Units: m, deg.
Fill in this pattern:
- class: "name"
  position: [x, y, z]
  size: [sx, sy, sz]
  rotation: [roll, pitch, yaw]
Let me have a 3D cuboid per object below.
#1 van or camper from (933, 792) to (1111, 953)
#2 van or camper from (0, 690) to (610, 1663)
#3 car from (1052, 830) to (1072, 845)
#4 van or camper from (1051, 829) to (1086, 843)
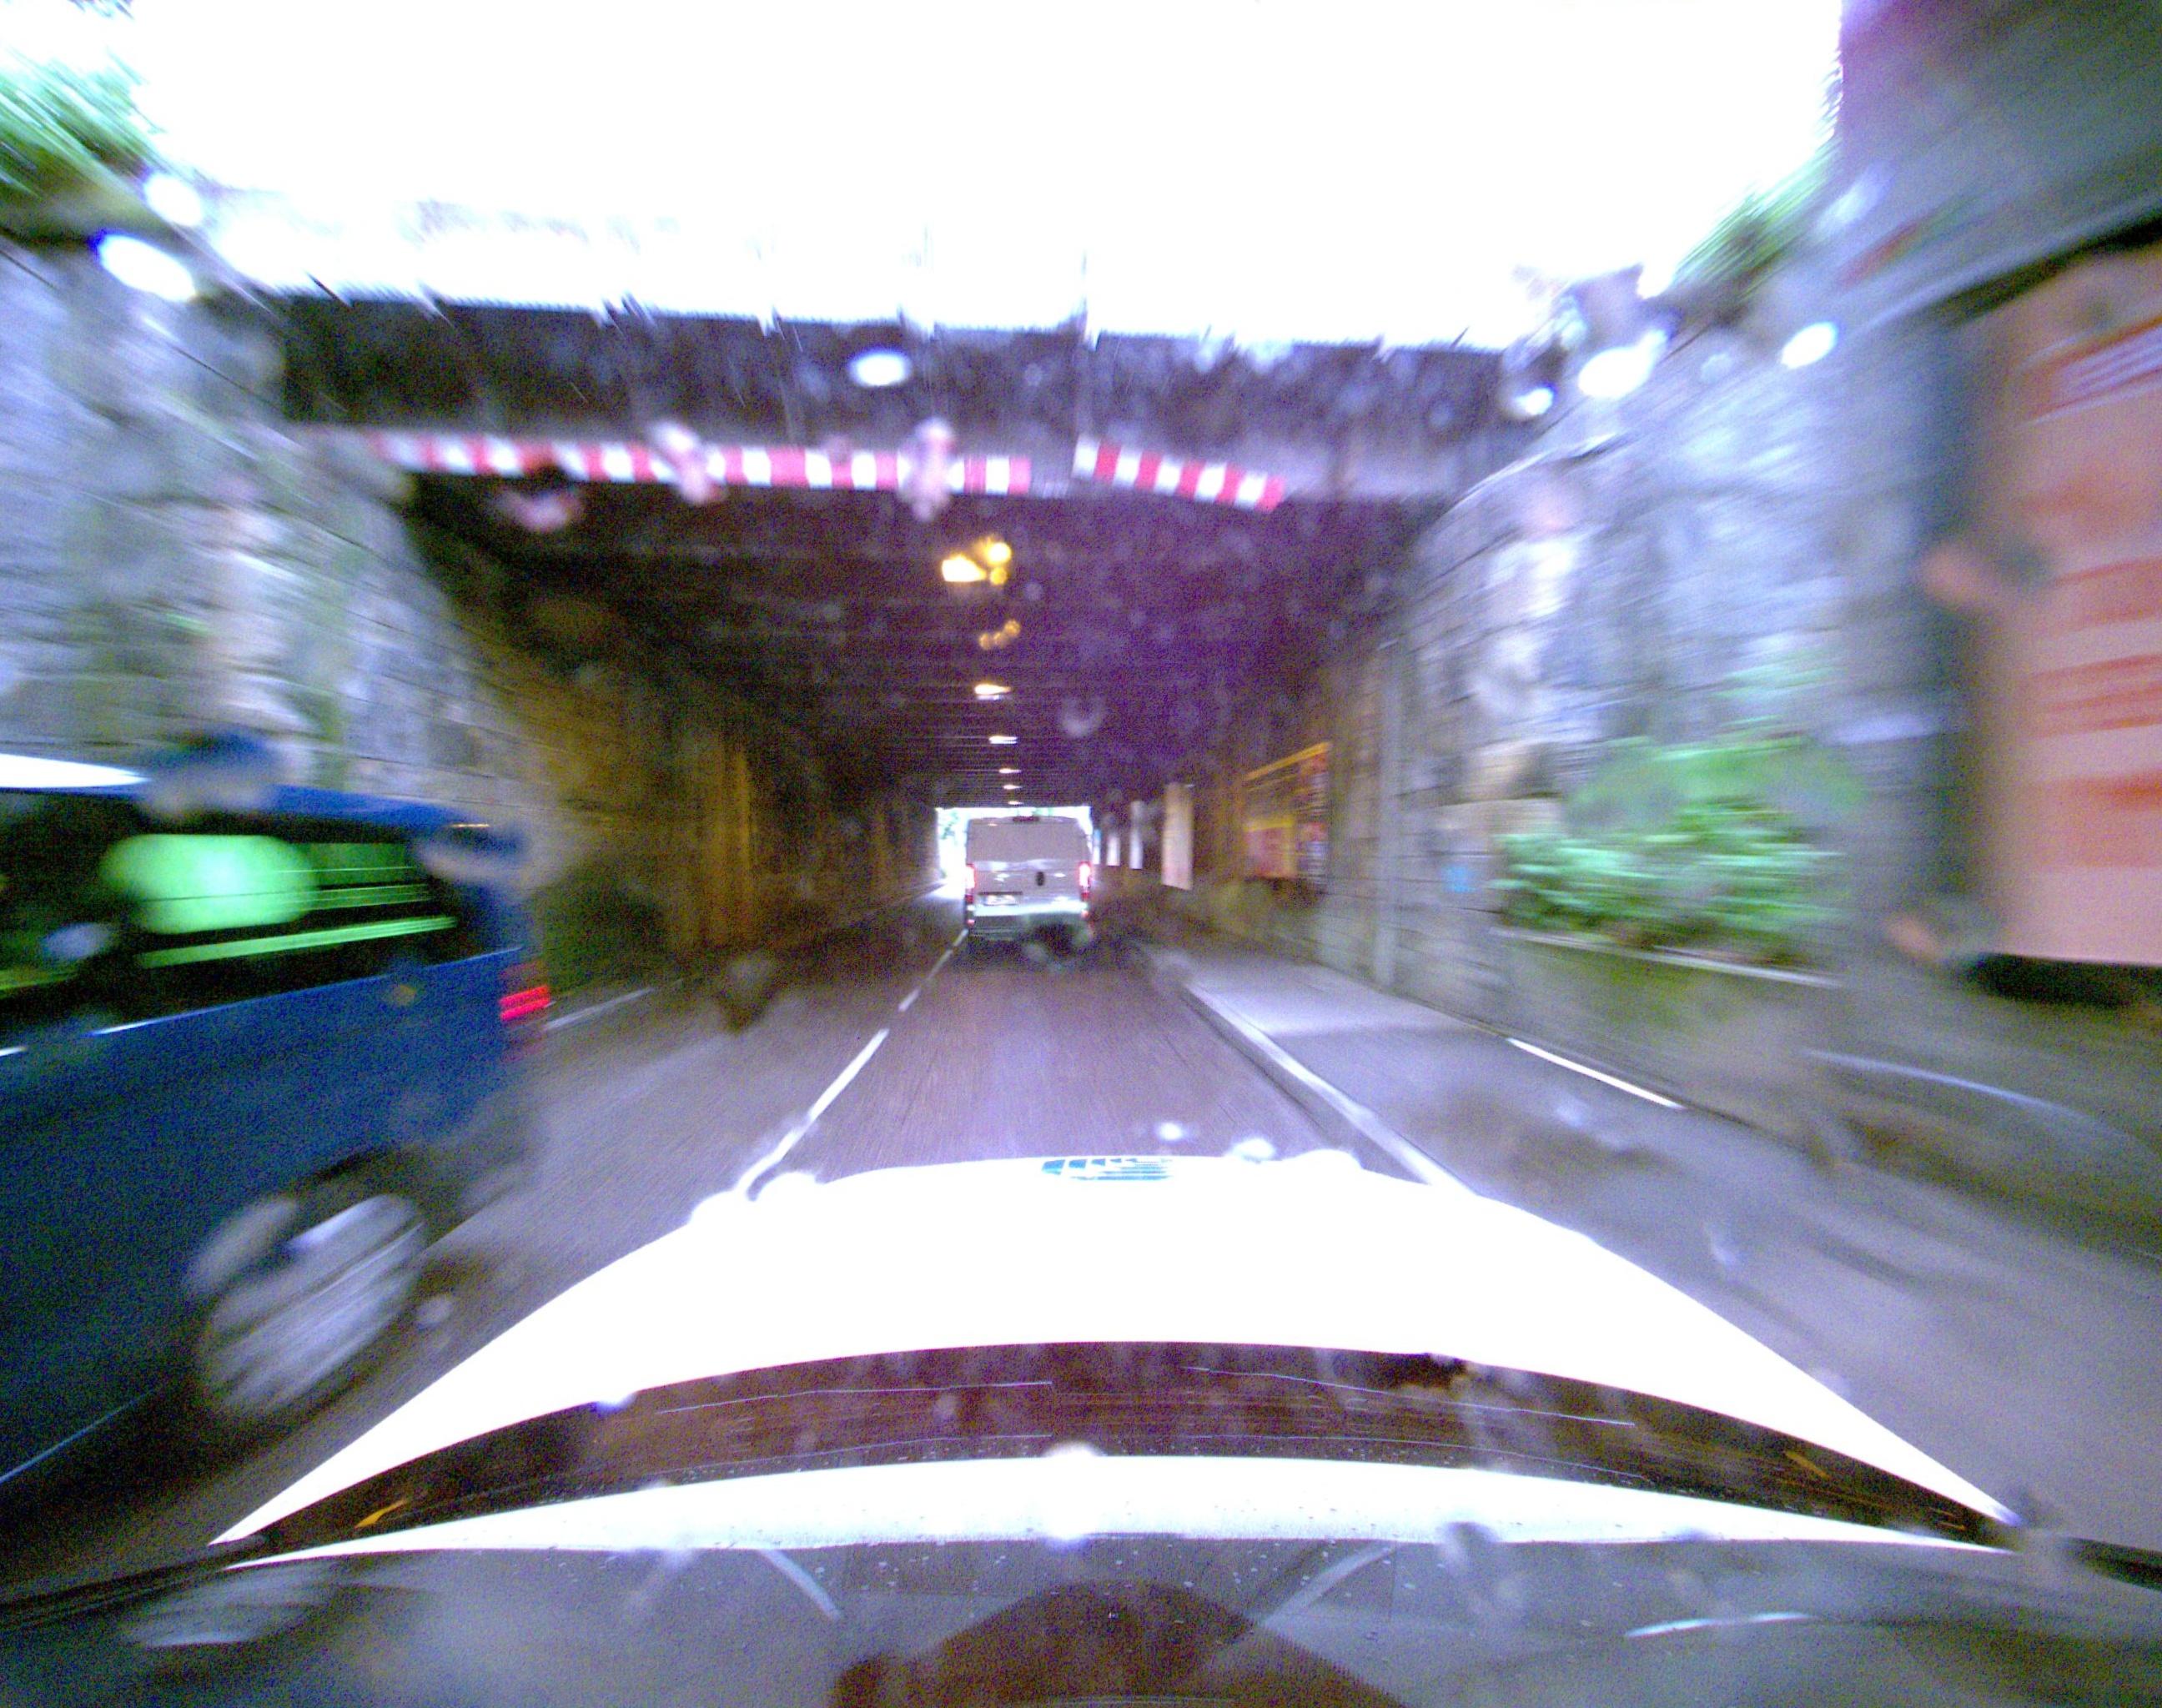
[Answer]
- class: "van or camper"
  position: [-1.055, 0.341, 14.917]
  size: [2.693, 2.417, 4.895]
  rotation: [-1, -2, -4]
- class: "van or camper"
  position: [-3.105, 0.633, 0.924]
  size: [1.986, 1.868, 5.141]
  rotation: [-2, -1, 2]
- class: "car"
  position: [-2.558, -2.119, 106.140]
  size: [1.994, 1.947, 3.985]
  rotation: [-1, 0, -11]
- class: "van or camper"
  position: [-1.893, -2.731, 125.448]
  size: [5.289, 2.013, 2.079]
  rotation: [-1, 0, 1]
